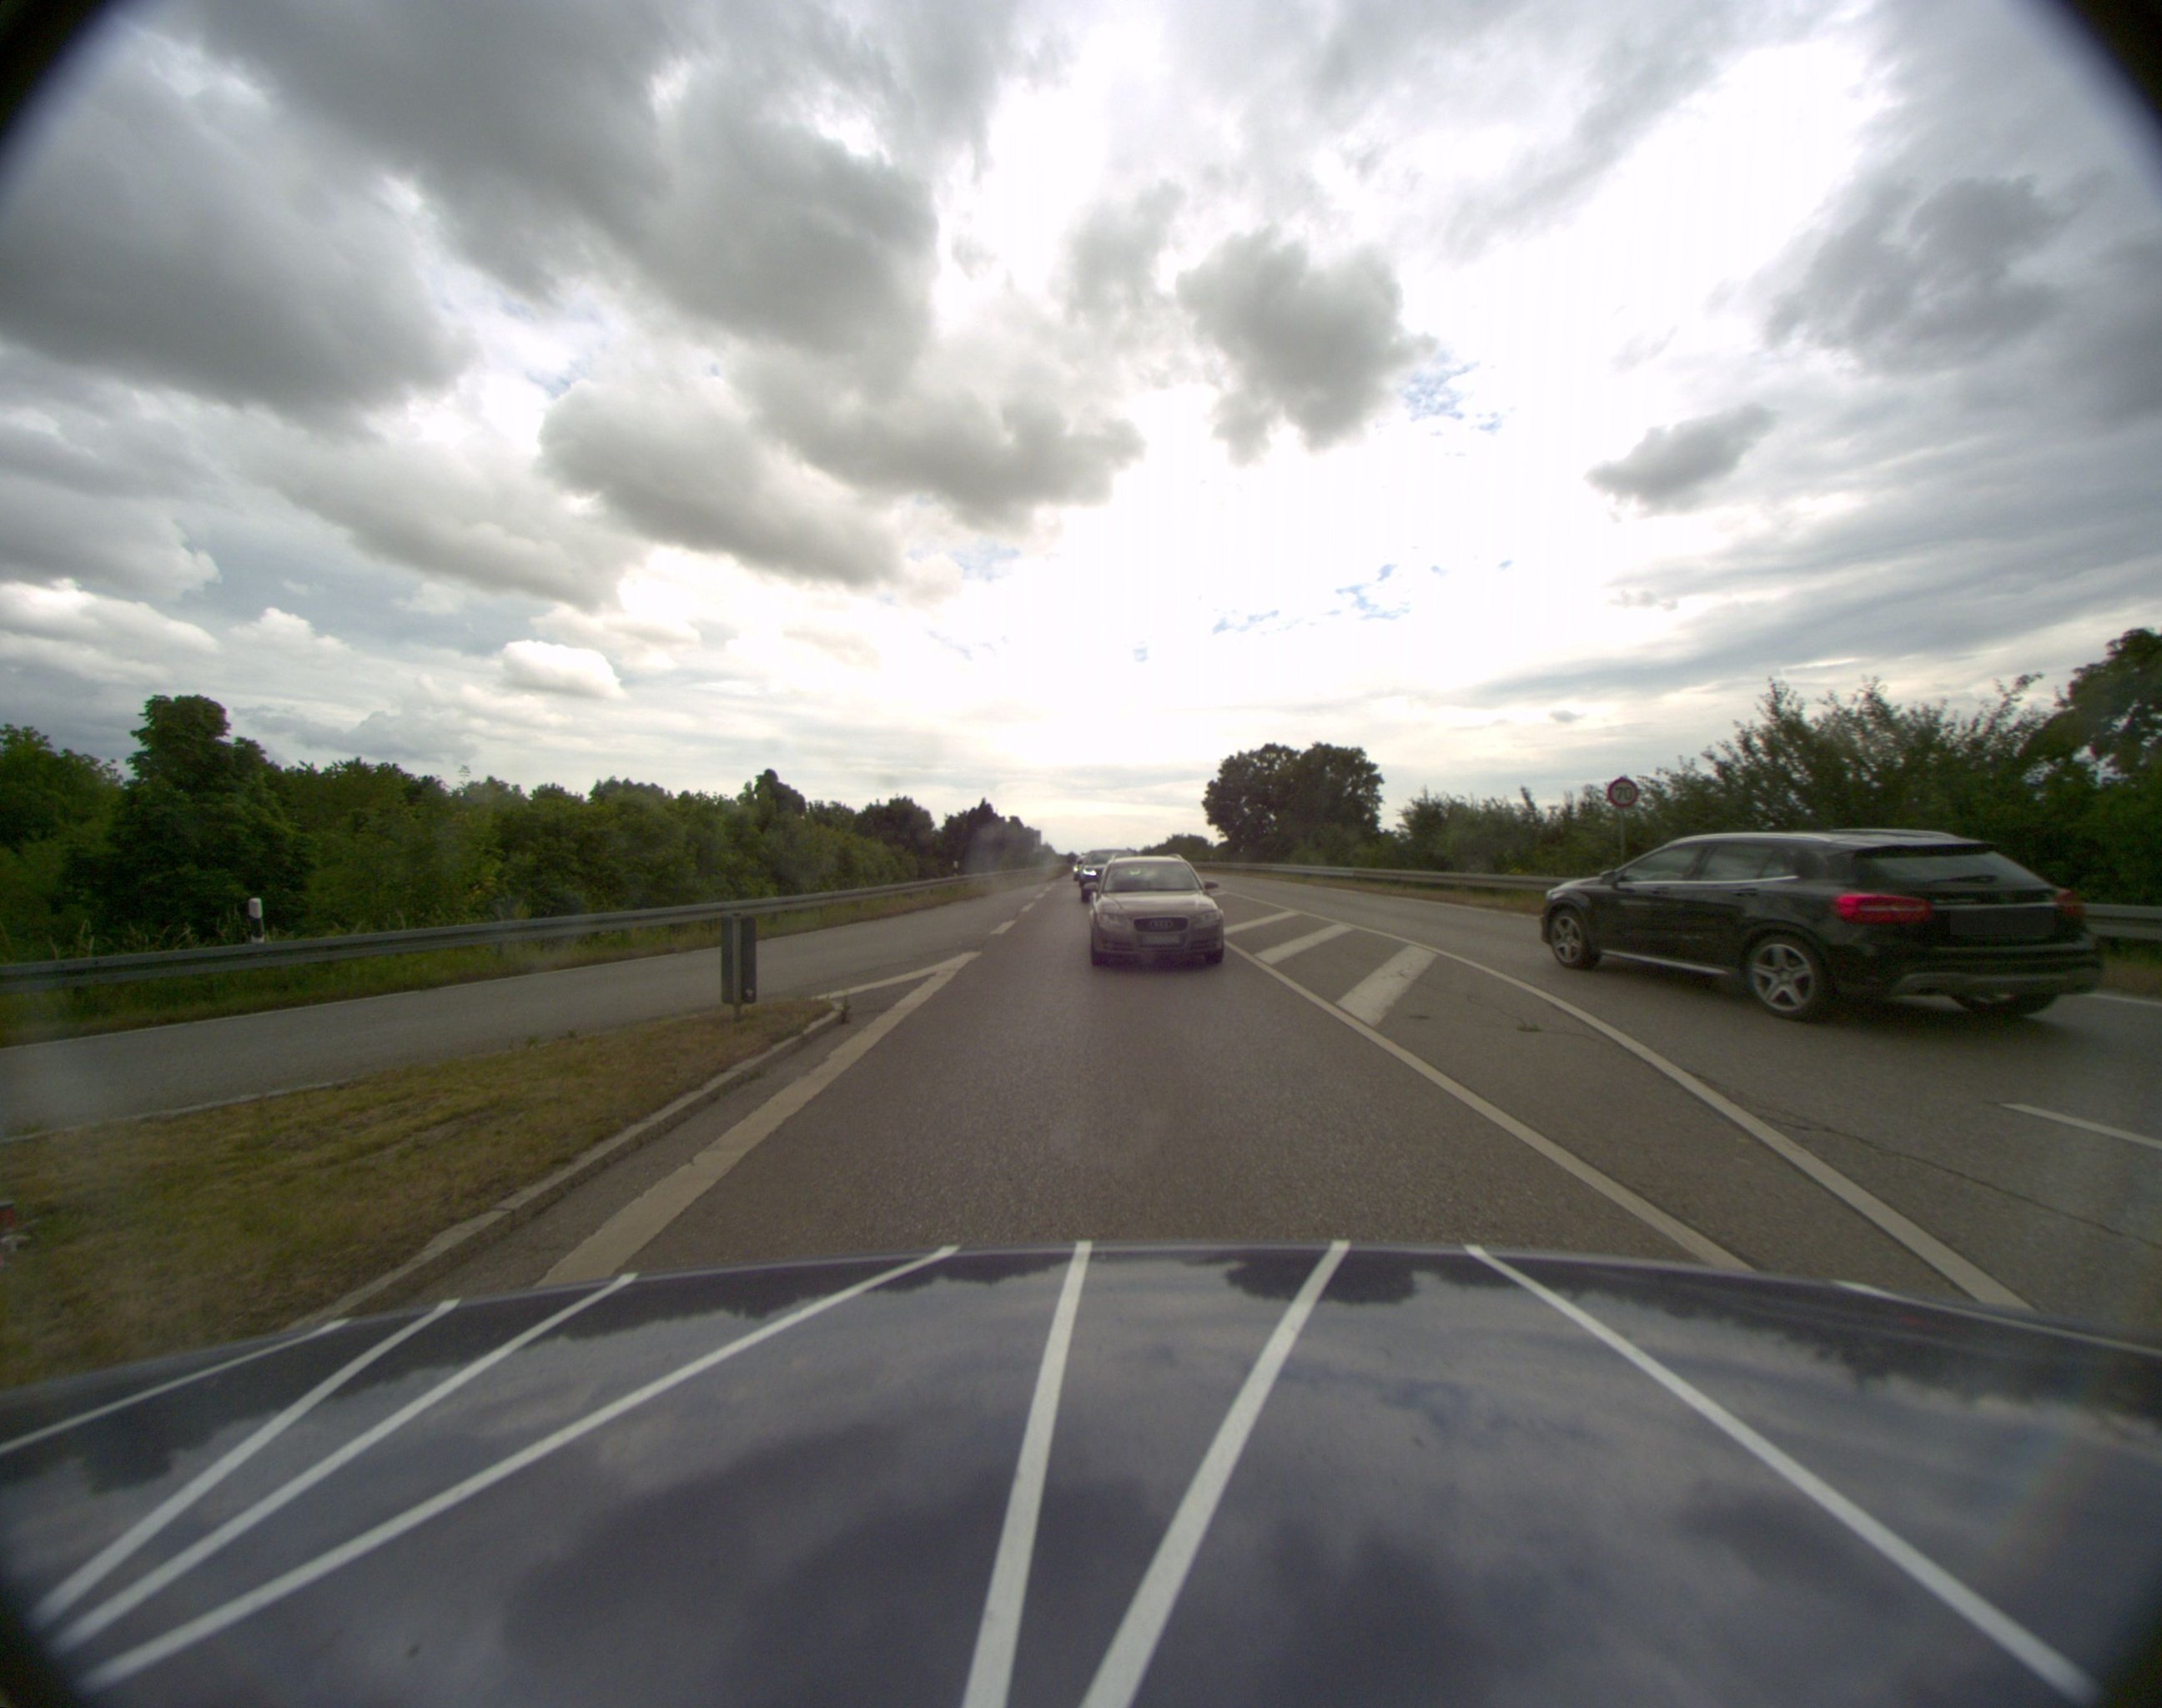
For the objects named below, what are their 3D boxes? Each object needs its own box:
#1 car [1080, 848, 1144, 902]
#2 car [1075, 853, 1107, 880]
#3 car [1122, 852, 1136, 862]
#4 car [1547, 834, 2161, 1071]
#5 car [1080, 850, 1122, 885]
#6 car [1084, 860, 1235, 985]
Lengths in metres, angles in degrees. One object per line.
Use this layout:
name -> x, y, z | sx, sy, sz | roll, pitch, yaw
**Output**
car -> 0.940, 0.625, 24.326 | 1.834, 1.537, 4.035 | -1, 0, 1
car -> 0.585, 0.720, 46.343 | 1.834, 1.537, 4.035 | -1, 0, 1
car -> 7.211, 0.474, 113.070 | 1.824, 1.366, 4.613 | -1, 1, 6
car -> 6.347, 0.632, 6.982 | 1.715, 1.514, 4.000 | -2, 1, 1
car -> 0.929, 0.634, 36.343 | 1.834, 1.537, 4.035 | -1, 0, 1
car -> 0.966, 0.845, 11.160 | 1.784, 1.442, 4.035 | -1, 0, 1
